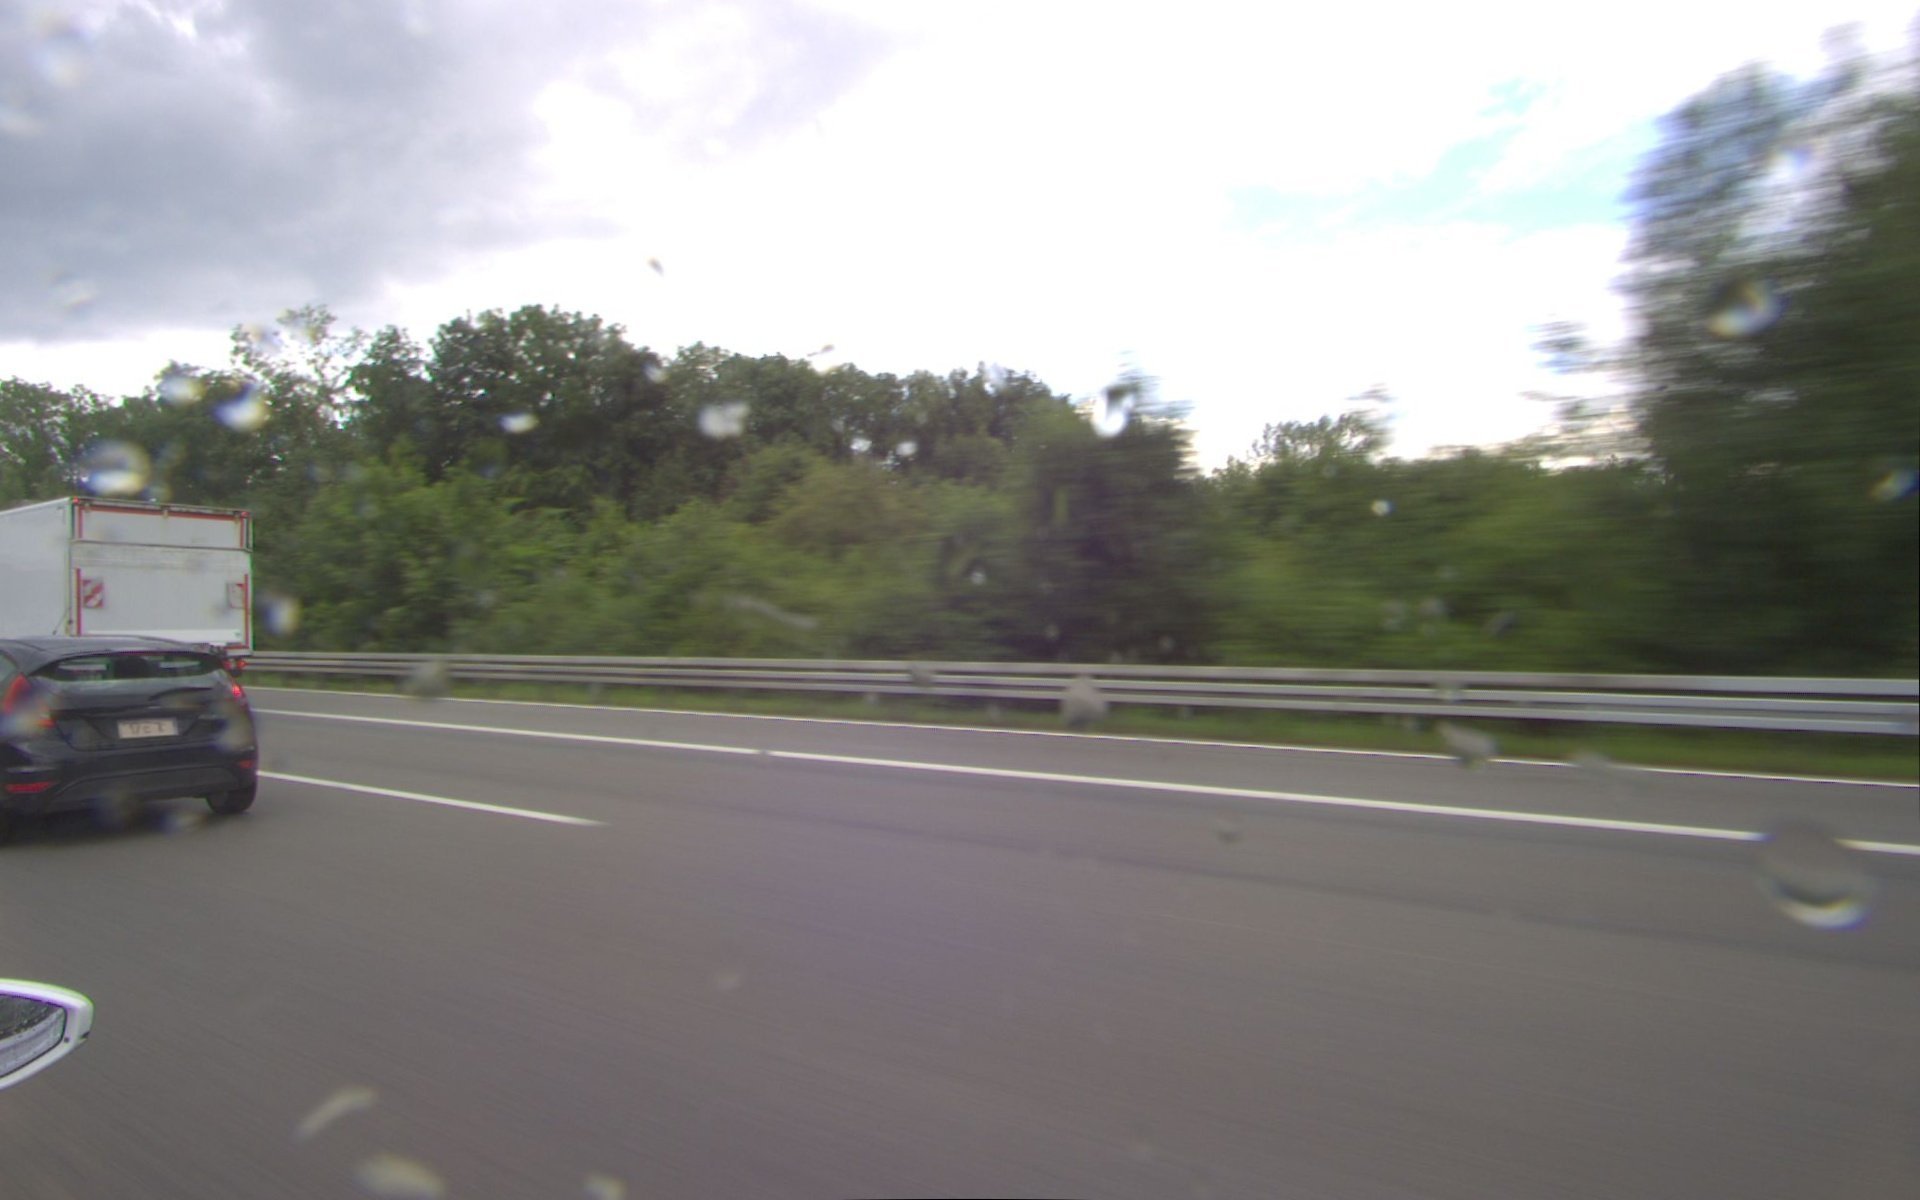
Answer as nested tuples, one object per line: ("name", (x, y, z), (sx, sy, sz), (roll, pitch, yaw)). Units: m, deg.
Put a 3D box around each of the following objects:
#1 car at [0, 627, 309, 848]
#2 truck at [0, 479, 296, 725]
("car", (-7.508, 0.939, 8.387), (4.221, 1.425, 1.881), (-1, -1, 32))
("truck", (-16.815, 0.130, 19.300), (9.708, 3.757, 3.127), (-1, -1, 33))
